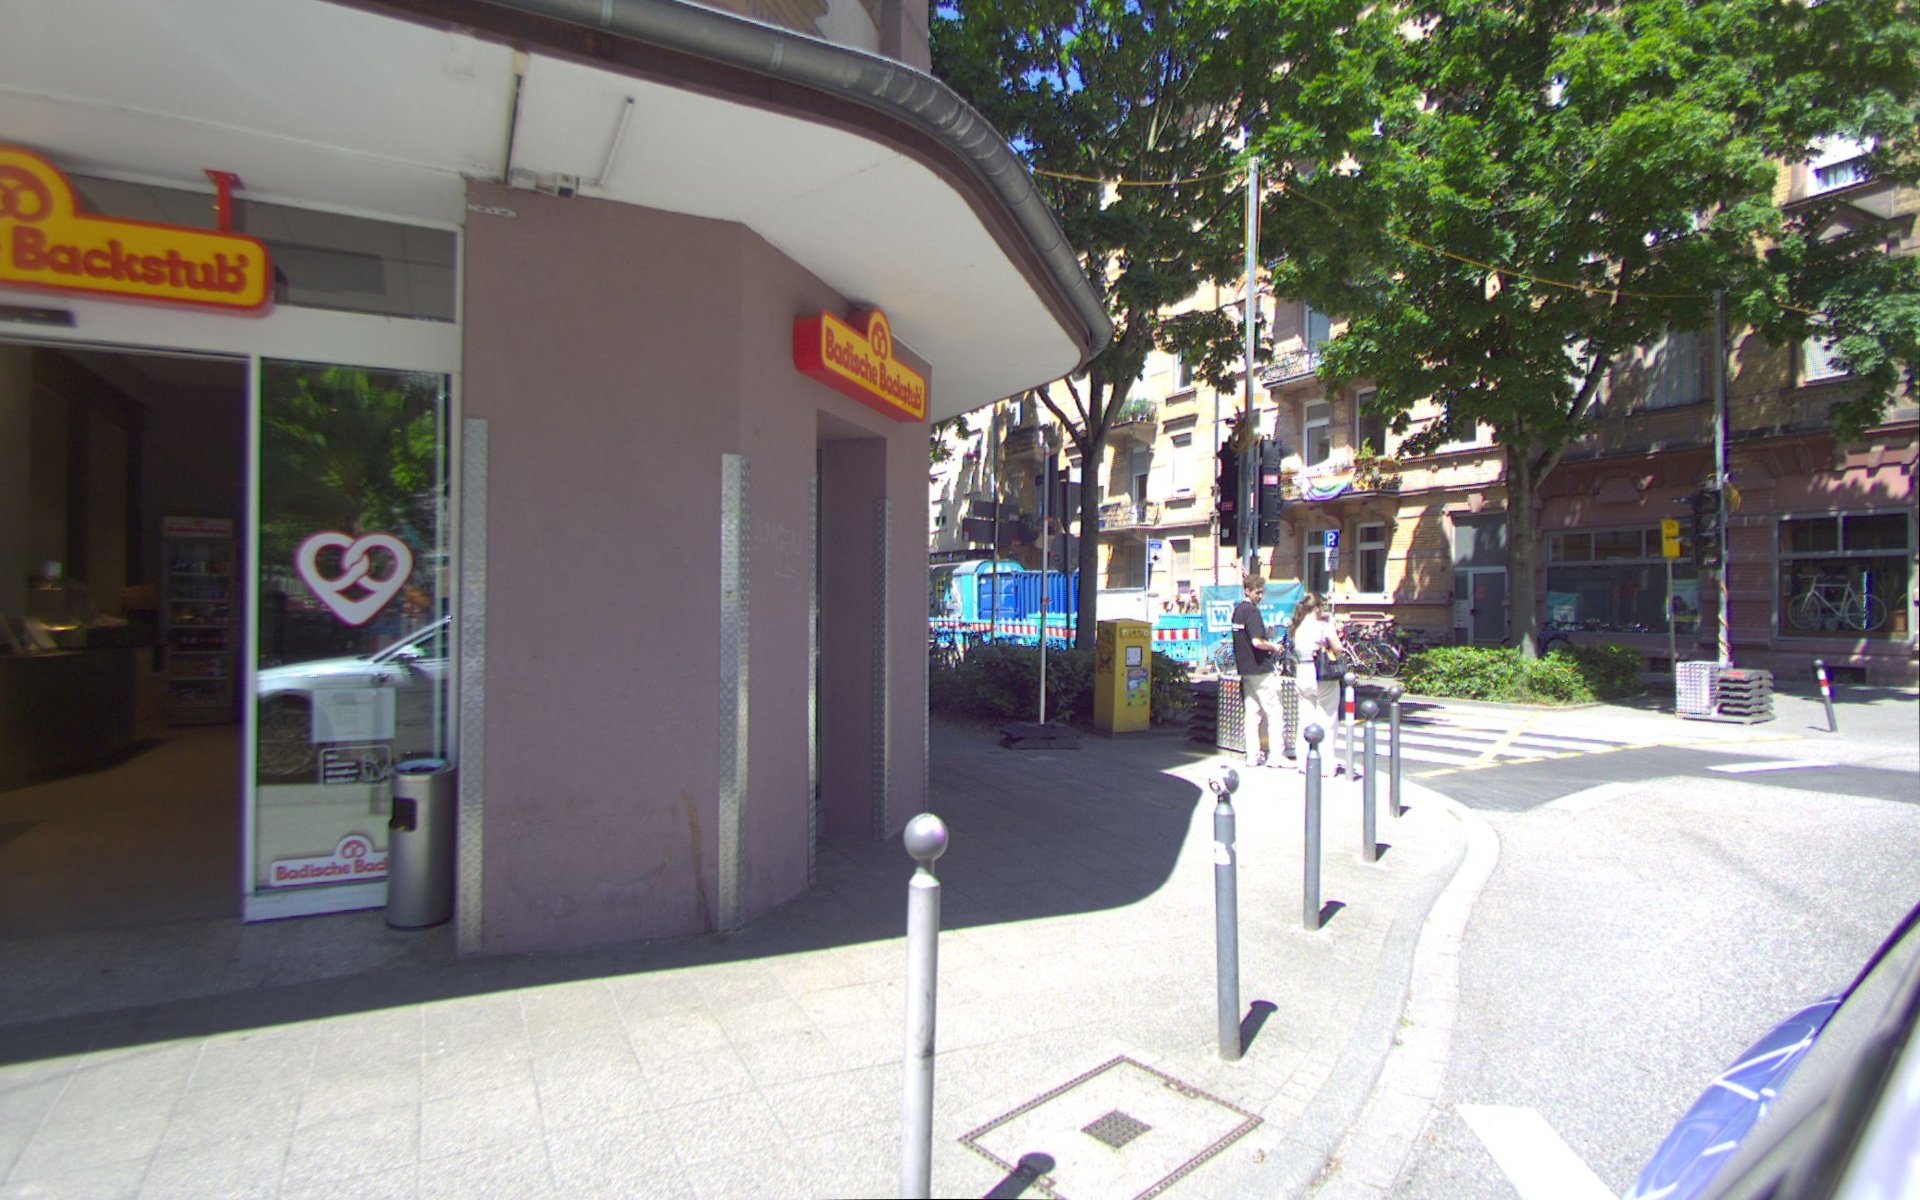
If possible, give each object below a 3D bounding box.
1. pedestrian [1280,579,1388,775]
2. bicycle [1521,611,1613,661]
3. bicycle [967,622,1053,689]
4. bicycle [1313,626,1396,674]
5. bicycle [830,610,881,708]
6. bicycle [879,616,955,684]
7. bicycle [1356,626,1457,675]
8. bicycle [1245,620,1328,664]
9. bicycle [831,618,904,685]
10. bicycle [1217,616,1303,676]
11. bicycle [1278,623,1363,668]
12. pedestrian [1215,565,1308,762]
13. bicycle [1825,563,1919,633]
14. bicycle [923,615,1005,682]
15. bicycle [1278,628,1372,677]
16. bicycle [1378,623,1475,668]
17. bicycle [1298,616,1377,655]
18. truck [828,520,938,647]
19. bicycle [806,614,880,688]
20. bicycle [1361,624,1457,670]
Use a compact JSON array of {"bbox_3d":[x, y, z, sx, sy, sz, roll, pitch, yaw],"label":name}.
[{"bbox_3d":[3.350,0.668,9.084,0.415,1.666,0.704,4,-1,-35],"label":"pedestrian"},{"bbox_3d":[13.153,0.755,21.966,0.512,1.021,1.699,0,0,-27],"label":"bicycle"},{"bbox_3d":[0.794,0.883,16.606,0.461,1.009,1.767,3,-1,-31],"label":"bicycle"},{"bbox_3d":[8.054,1.003,20.756,0.498,0.883,1.748,0,0,-24],"label":"bicycle"},{"bbox_3d":[-1.380,0.721,13.141,0.506,1.146,1.990,0,0,-10],"label":"bicycle"},{"bbox_3d":[-0.731,0.799,16.605,0.461,1.019,1.690,3,-1,-31],"label":"bicycle"},{"bbox_3d":[8.974,0.995,20.422,0.498,0.883,2.078,0,0,-24],"label":"bicycle"},{"bbox_3d":[7.235,0.907,22.555,0.498,0.883,2.078,0,0,-24],"label":"bicycle"},{"bbox_3d":[-1.557,0.827,16.767,0.461,1.009,1.767,3,-1,-31],"label":"bicycle"},{"bbox_3d":[6.154,0.923,20.839,0.499,1.121,1.785,-2,1,-33],"label":"bicycle"},{"bbox_3d":[7.990,0.989,22.550,0.498,0.883,2.078,0,0,-24],"label":"bicycle"},{"bbox_3d":[2.862,0.584,9.624,0.462,1.791,0.577,4,-1,-36],"label":"pedestrian"},{"bbox_3d":[15.989,-0.030,17.544,0.499,1.166,1.429,0,0,-25],"label":"bicycle"},{"bbox_3d":[0.034,0.772,16.564,0.461,1.009,1.767,3,-1,-31],"label":"bicycle"},{"bbox_3d":[7.369,1.036,20.520,0.498,0.883,2.078,0,0,-24],"label":"bicycle"},{"bbox_3d":[10.041,0.958,21.870,0.498,0.883,2.078,0,0,-24],"label":"bicycle"},{"bbox_3d":[9.293,0.852,25.002,0.498,0.883,2.078,0,0,-24],"label":"bicycle"},{"bbox_3d":[-2.703,-0.521,34.565,2.241,4.005,4.484,0,0,-26],"label":"truck"},{"bbox_3d":[-1.910,0.798,16.305,0.461,1.094,1.767,3,-1,-31],"label":"bicycle"},{"bbox_3d":[9.519,0.979,21.545,0.498,0.883,2.078,0,0,-24],"label":"bicycle"}]
